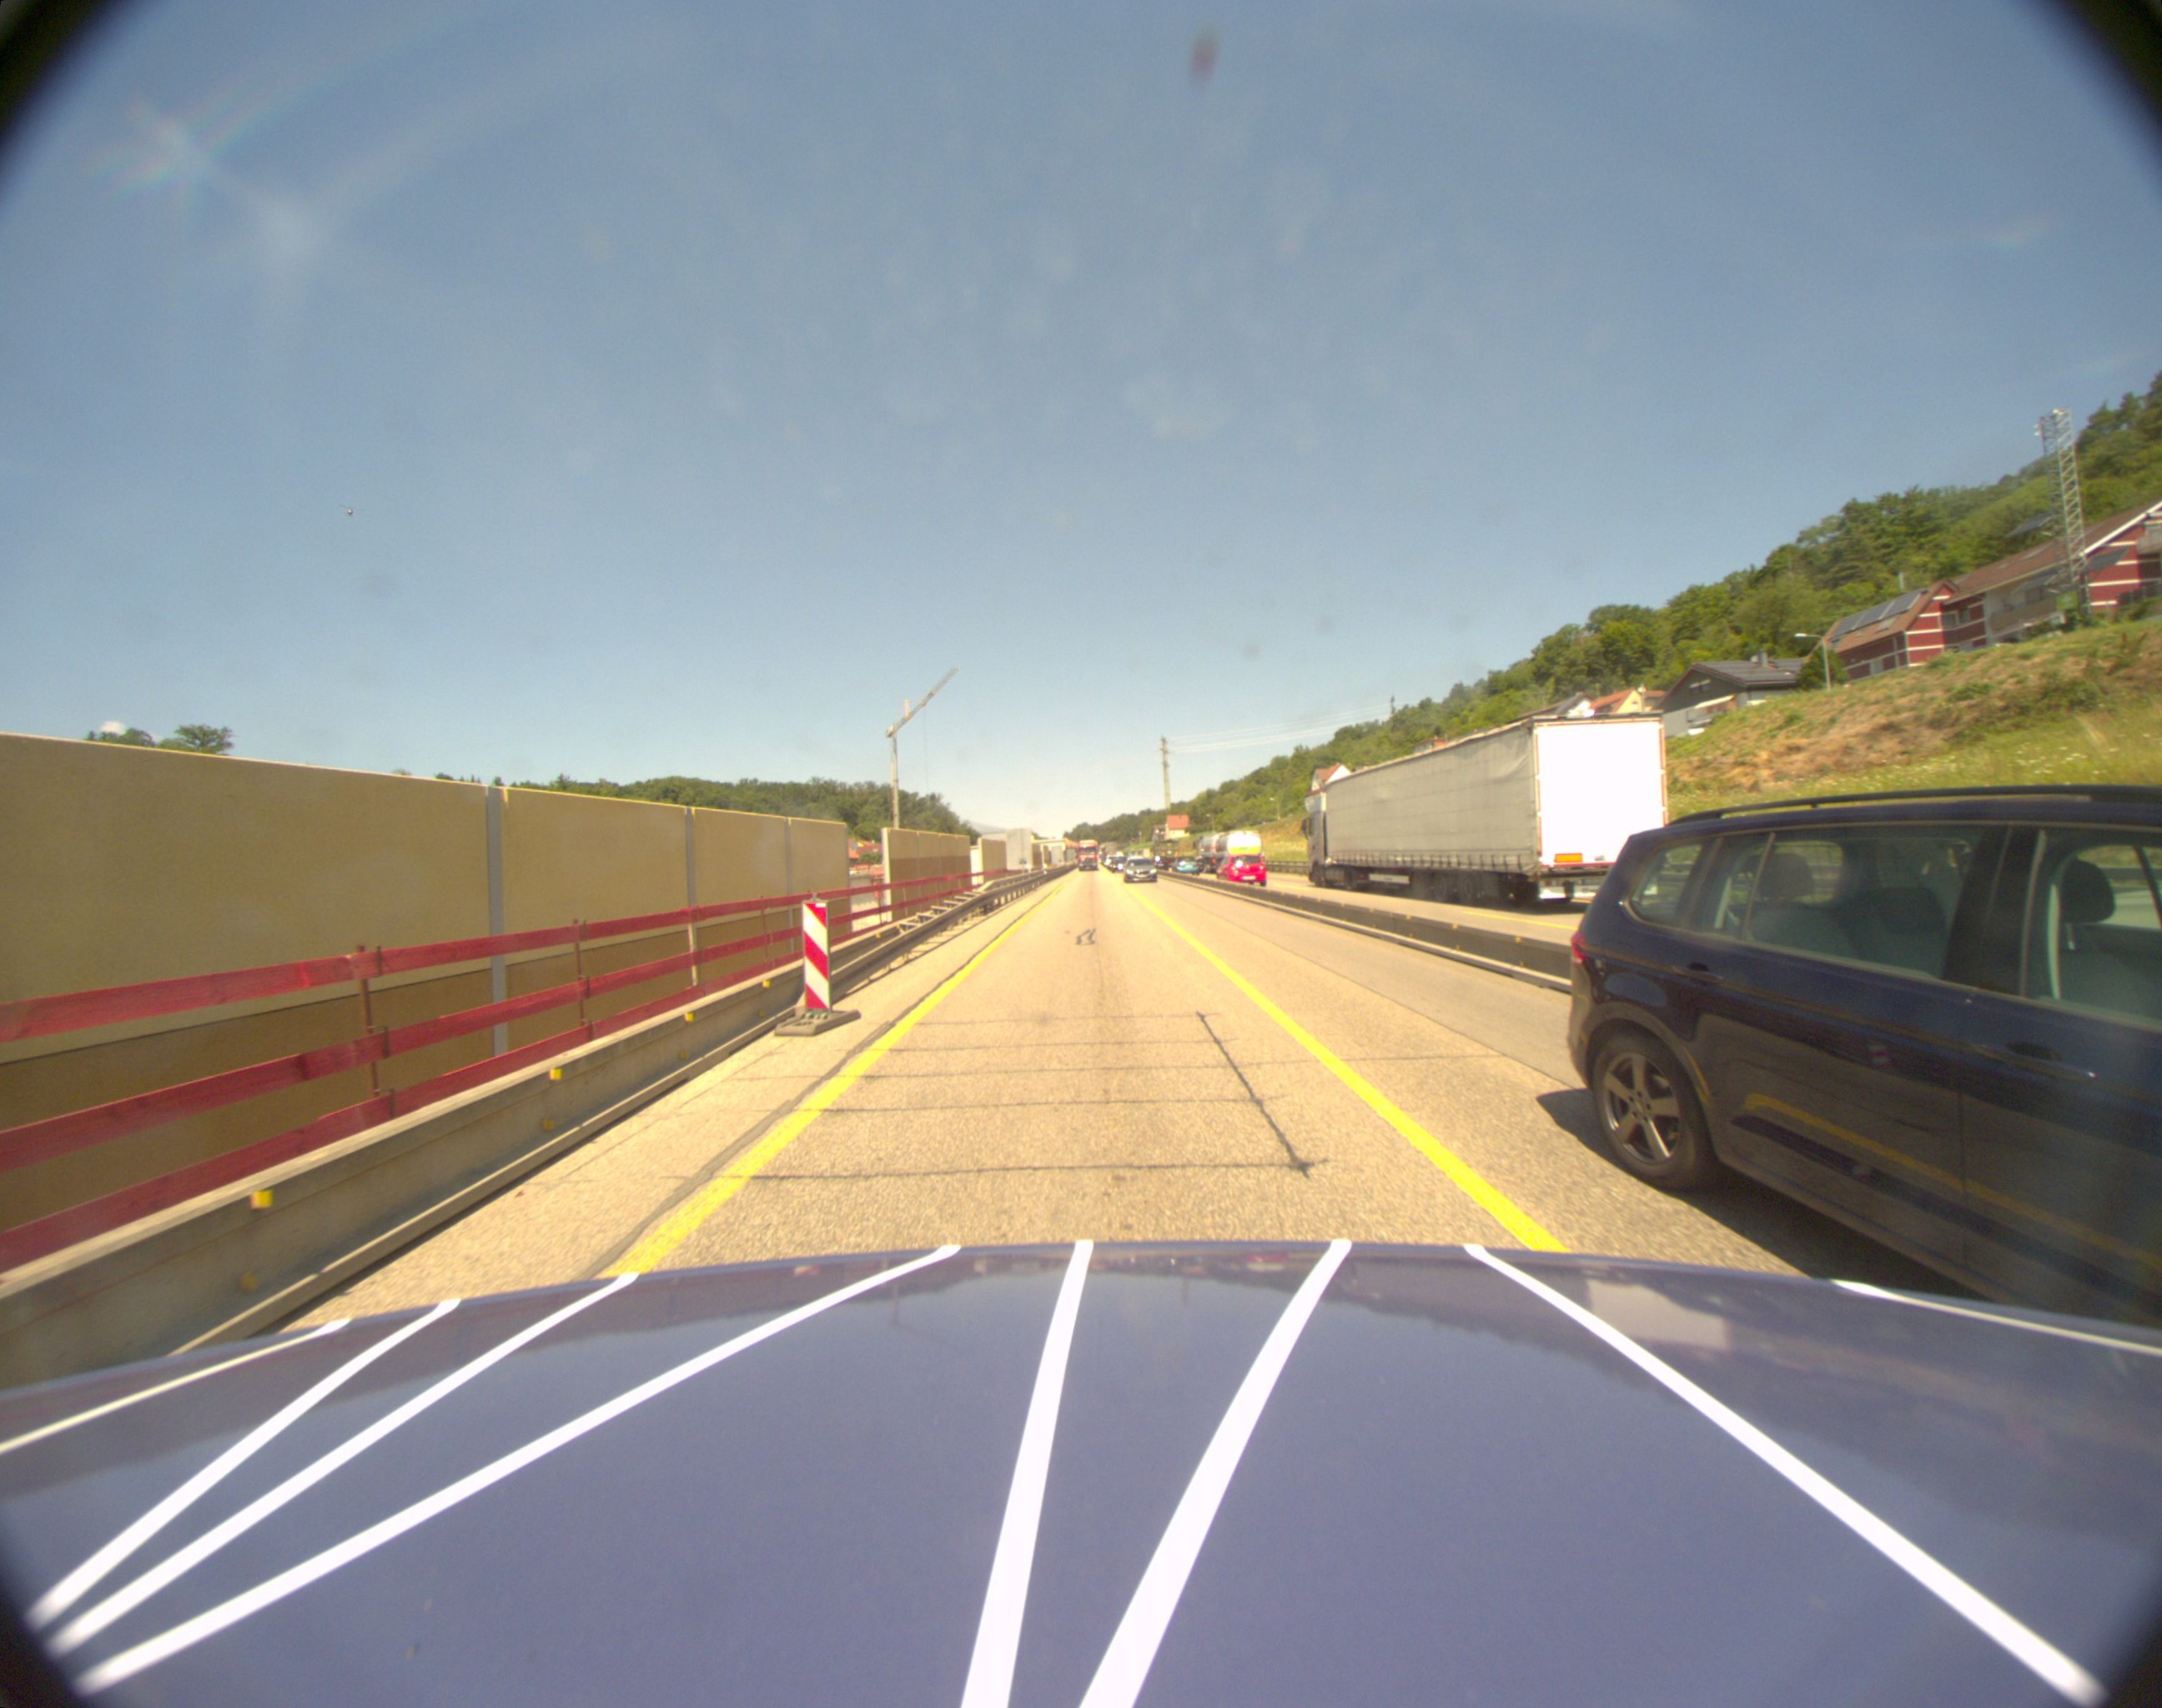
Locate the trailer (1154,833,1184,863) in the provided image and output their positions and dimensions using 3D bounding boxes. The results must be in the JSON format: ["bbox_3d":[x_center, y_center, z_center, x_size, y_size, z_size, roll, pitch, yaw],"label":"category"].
[{"bbox_3d":[12.185,-0.832,106.188,2.920,3.915,10.527,-2,0,1],"label":"trailer"}]

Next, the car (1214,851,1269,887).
[{"bbox_3d":[7.146,0.645,34.176,1.674,1.457,4.000,-2,0,1],"label":"car"}]

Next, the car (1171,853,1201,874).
[{"bbox_3d":[7.727,0.682,56.036,1.670,1.386,3.905,-2,0,1],"label":"car"}]

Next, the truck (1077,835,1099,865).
[{"bbox_3d":[0.992,-0.502,102.462,2.605,3.704,10.537,-2,-1,2],"label":"truck"}]

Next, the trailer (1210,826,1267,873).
[{"bbox_3d":[10.883,-0.304,53.113,2.619,2.983,6.370,-2,0,1],"label":"trailer"}]

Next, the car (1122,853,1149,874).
[{"bbox_3d":[4.106,0.714,57.893,1.780,1.447,4.336,-2,-1,2],"label":"car"}]

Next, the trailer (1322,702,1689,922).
[{"bbox_3d":[10.417,-0.826,21.681,2.793,4.157,13.979,-2,0,1],"label":"trailer"}]

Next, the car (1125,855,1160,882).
[{"bbox_3d":[3.553,0.823,44.442,1.780,1.447,4.336,-2,-1,2],"label":"car"}]

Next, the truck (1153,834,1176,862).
[{"bbox_3d":[12.269,-0.816,112.123,2.902,3.915,4.178,-2,0,1],"label":"truck"}]

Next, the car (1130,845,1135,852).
[{"bbox_3d":[17.558,-1.892,259.361,1.679,2.203,4.045,-2,0,0],"label":"car"}]

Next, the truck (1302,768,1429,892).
[{"bbox_3d":[10.541,-0.813,28.745,2.752,4.157,5.288,-2,0,1],"label":"truck"}]

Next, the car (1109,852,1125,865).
[{"bbox_3d":[4.447,0.571,94.652,1.780,1.486,4.336,-2,-1,2],"label":"car"}]

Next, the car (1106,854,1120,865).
[{"bbox_3d":[4.606,0.742,109.929,1.780,1.486,4.336,-2,-1,2],"label":"car"}]

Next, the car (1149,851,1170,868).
[{"bbox_3d":[7.898,0.551,76.955,1.722,1.625,4.499,-2,0,1],"label":"car"}]

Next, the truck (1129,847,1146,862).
[{"bbox_3d":[13.084,0.069,178.045,2.769,3.303,15.936,-2,0,0],"label":"truck"}]

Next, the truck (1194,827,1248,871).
[{"bbox_3d":[11.031,-0.378,60.791,2.733,3.124,8.959,-2,0,1],"label":"truck"}]

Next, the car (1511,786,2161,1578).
[{"bbox_3d":[3.194,0.677,1.760,1.780,1.708,4.653,-2,-1,1],"label":"car"}]

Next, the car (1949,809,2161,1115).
[{"bbox_3d":[6.729,0.570,2.890,1.837,1.656,4.414,-2,1,1],"label":"car"}]

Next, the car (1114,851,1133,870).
[{"bbox_3d":[4.317,0.657,77.139,1.780,1.727,4.336,-2,-1,2],"label":"car"}]
